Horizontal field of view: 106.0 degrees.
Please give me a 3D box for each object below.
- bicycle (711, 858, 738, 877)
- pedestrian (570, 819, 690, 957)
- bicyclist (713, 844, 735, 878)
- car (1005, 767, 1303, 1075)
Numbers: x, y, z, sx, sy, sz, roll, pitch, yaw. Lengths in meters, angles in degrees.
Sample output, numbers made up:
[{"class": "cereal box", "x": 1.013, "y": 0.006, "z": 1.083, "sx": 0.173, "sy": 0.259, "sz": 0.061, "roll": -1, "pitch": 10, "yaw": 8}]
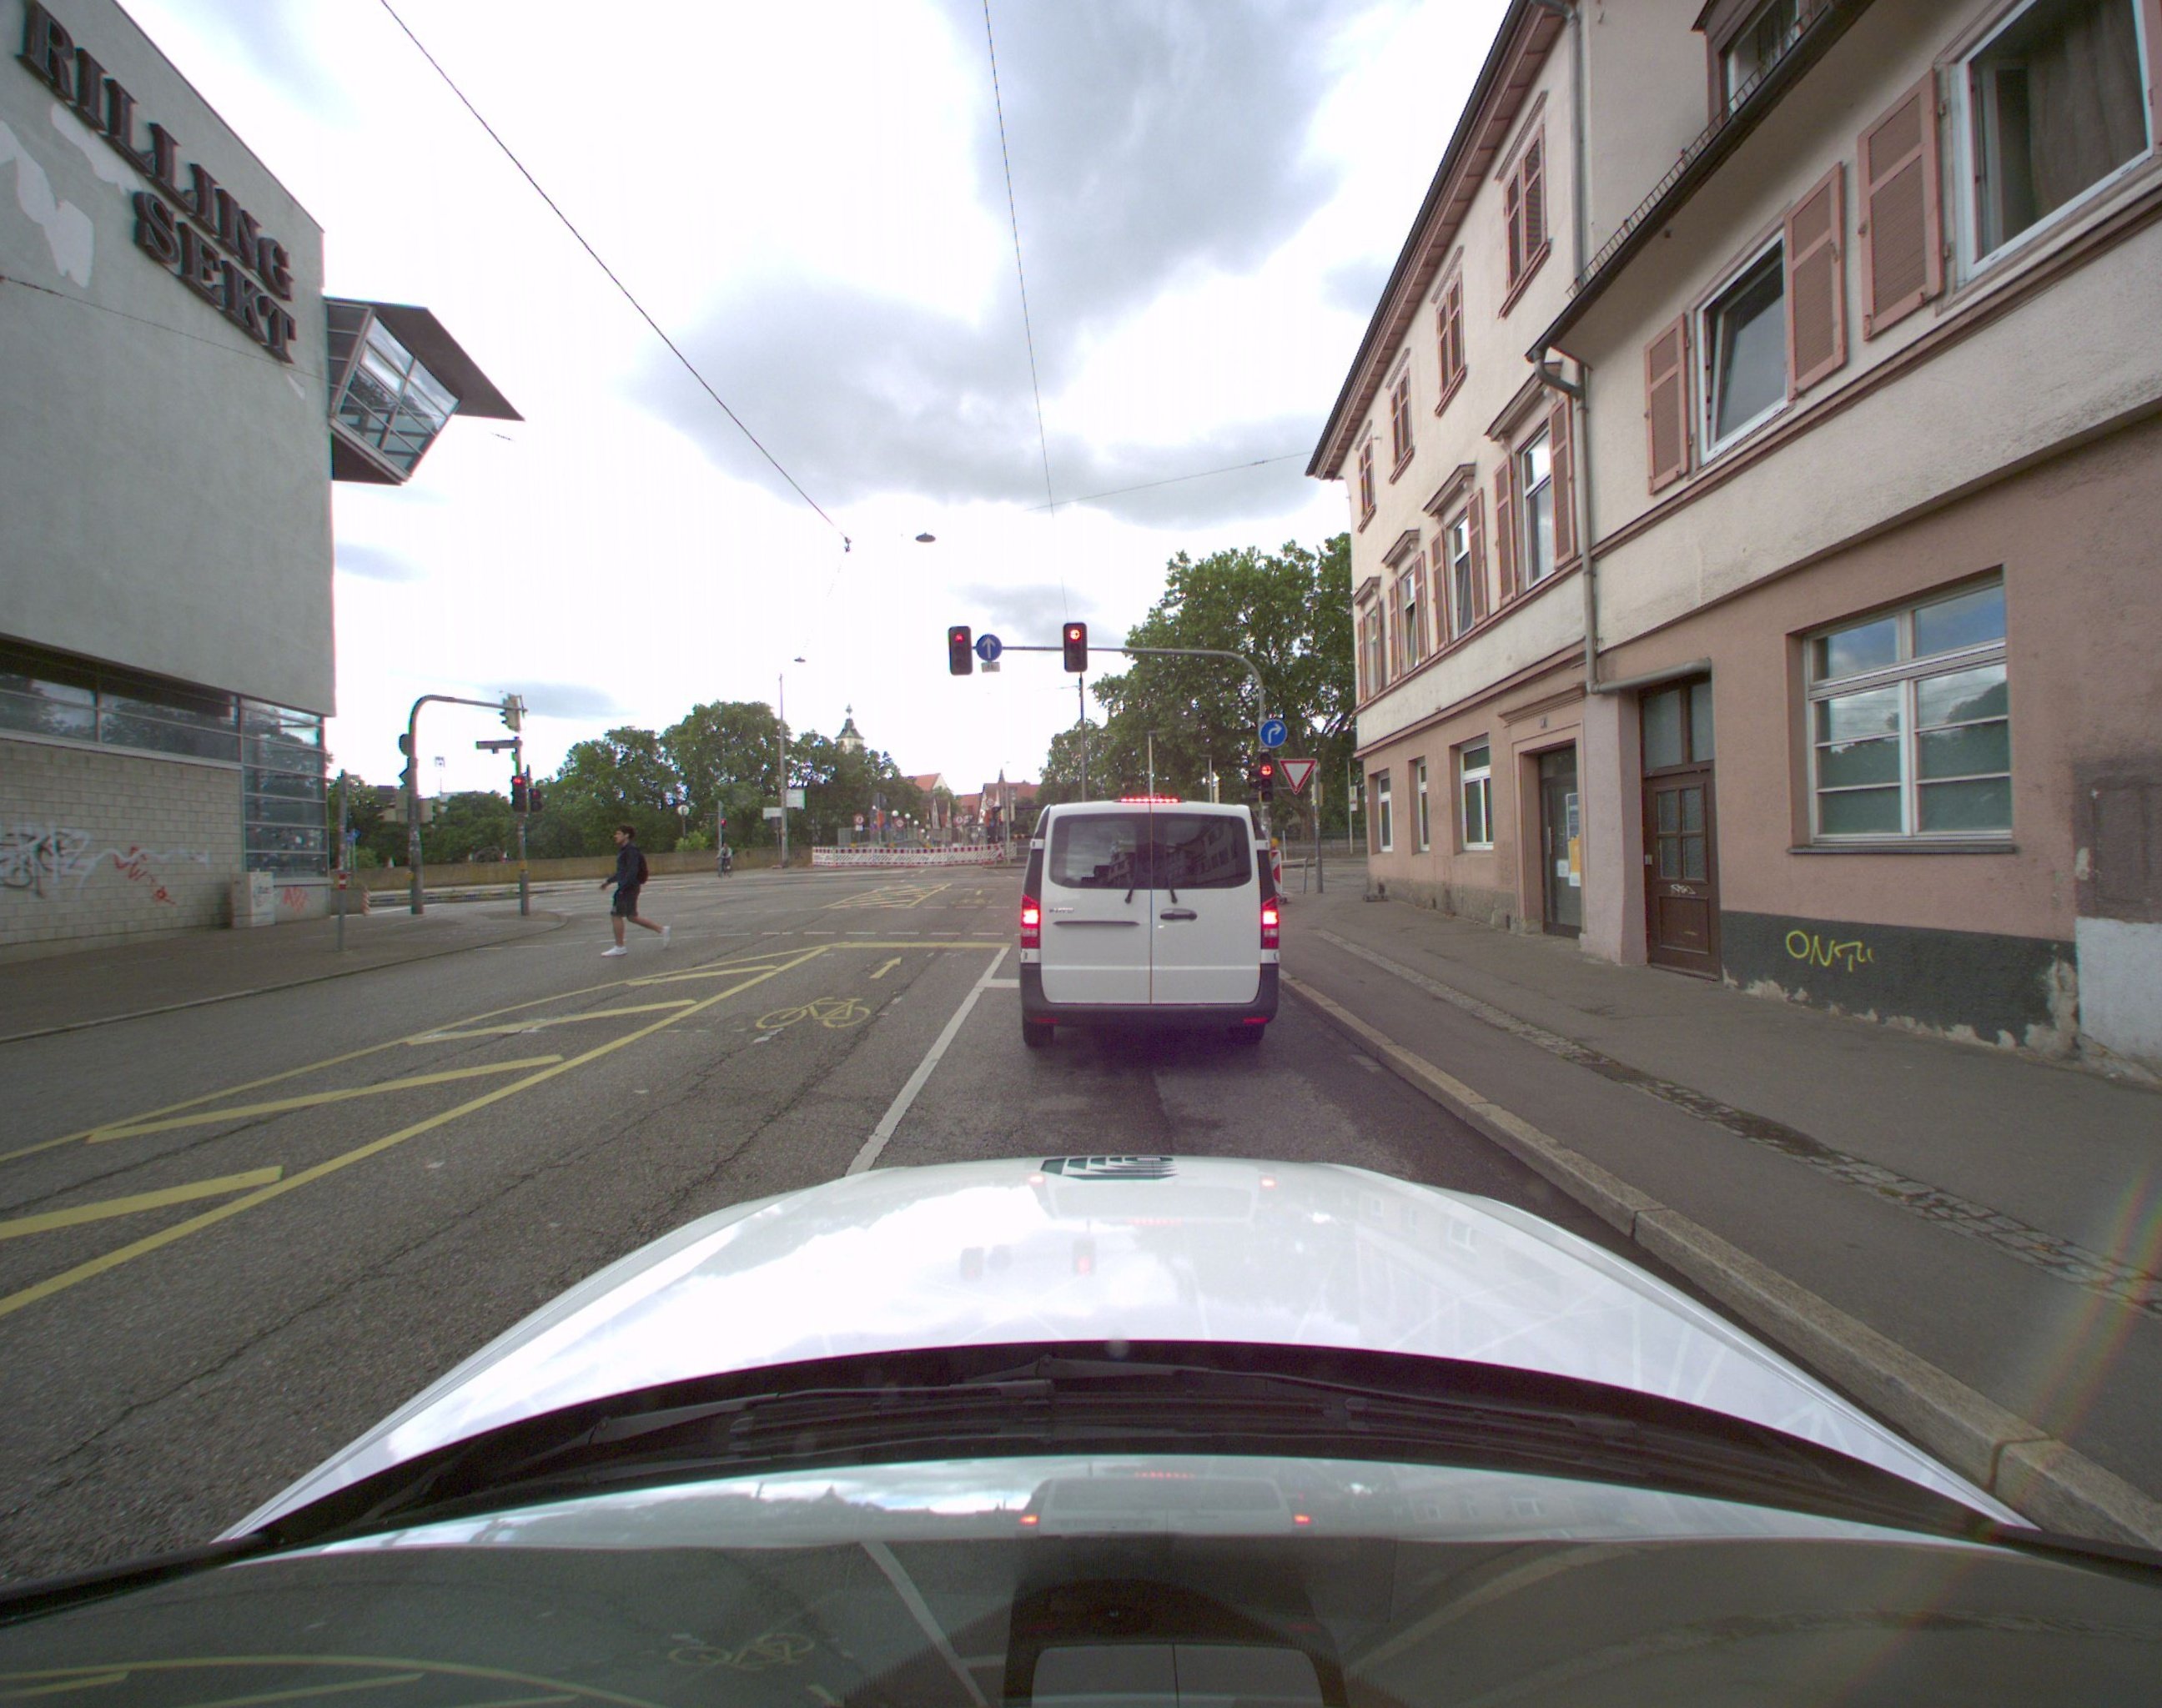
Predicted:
[{"class": "bicycle", "x": -18.255, "y": 0.678, "z": 41.707, "sx": 0.539, "sy": 0.892, "sz": 1.879, "roll": -2, "pitch": 0, "yaw": -1}, {"class": "pedestrian", "x": -6.451, "y": 0.451, "z": 11.721, "sx": 1.084, "sy": 1.886, "sz": 1.058, "roll": 0, "pitch": 1, "yaw": 1}, {"class": "bicyclist", "x": -18.267, "y": 0.348, "z": 41.688, "sx": 0.721, "sy": 1.701, "sz": 0.810, "roll": -2, "pitch": 0, "yaw": -3}, {"class": "car", "x": 0.557, "y": 0.389, "z": 7.707, "sx": 1.943, "sy": 2.013, "sz": 4.700, "roll": 0, "pitch": 1, "yaw": 2}]
